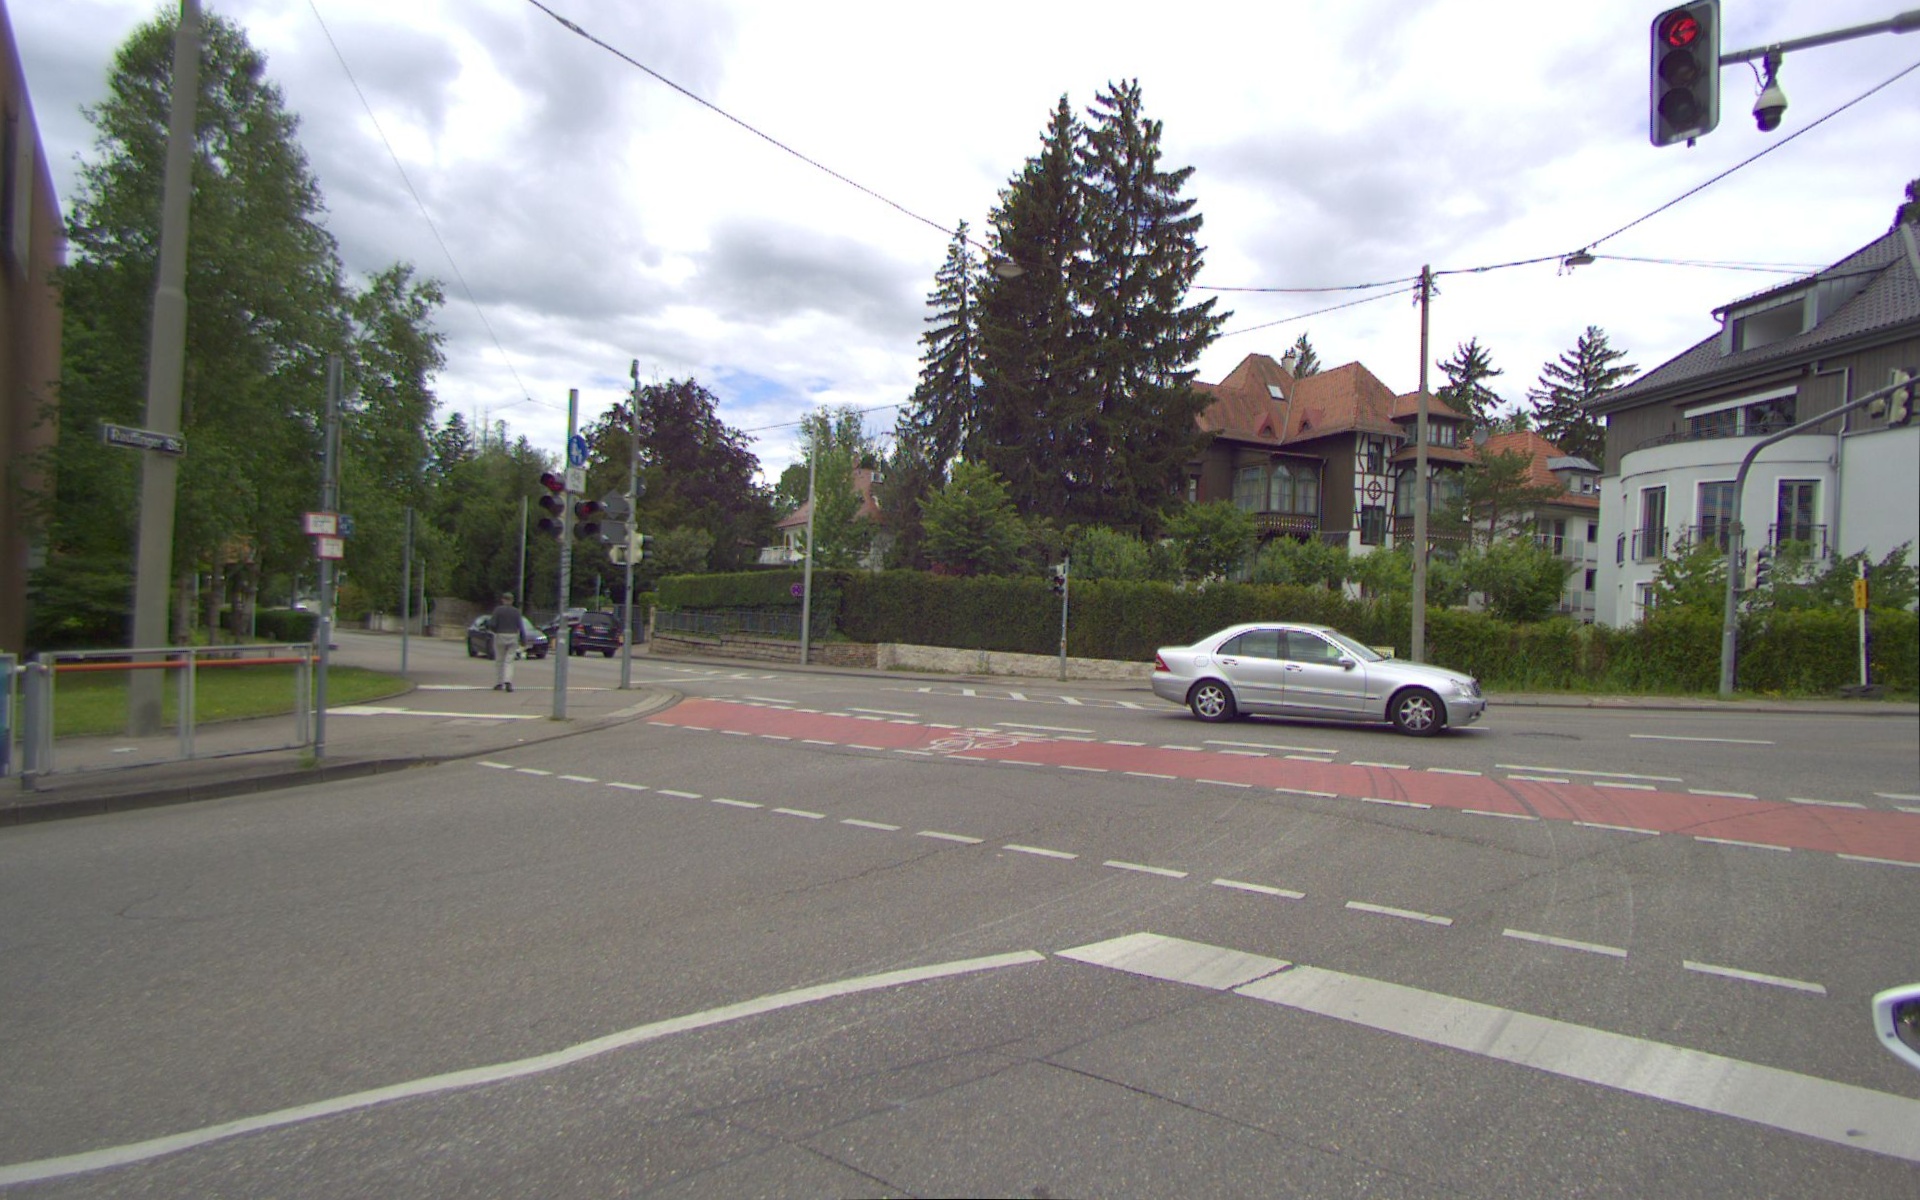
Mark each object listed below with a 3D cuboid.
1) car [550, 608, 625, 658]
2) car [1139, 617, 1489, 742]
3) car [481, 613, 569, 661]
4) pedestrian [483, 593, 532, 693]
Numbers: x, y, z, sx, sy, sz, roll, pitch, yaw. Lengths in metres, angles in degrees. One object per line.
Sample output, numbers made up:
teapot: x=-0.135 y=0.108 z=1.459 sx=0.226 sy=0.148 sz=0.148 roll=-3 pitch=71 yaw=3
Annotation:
car: x=-15.137 y=1.320 z=40.642 sx=1.897 sy=1.905 sz=5.098 roll=2 pitch=-2 yaw=-31
car: x=4.888 y=0.996 z=14.096 sx=4.350 sy=1.432 sz=1.705 roll=1 pitch=0 yaw=33
car: x=-15.211 y=1.254 z=35.006 sx=1.816 sy=1.556 sz=3.955 roll=2 pitch=-2 yaw=-39
pedestrian: x=-7.741 y=0.725 z=17.174 sx=0.676 sy=1.655 sz=0.733 roll=0 pitch=-1 yaw=-33
